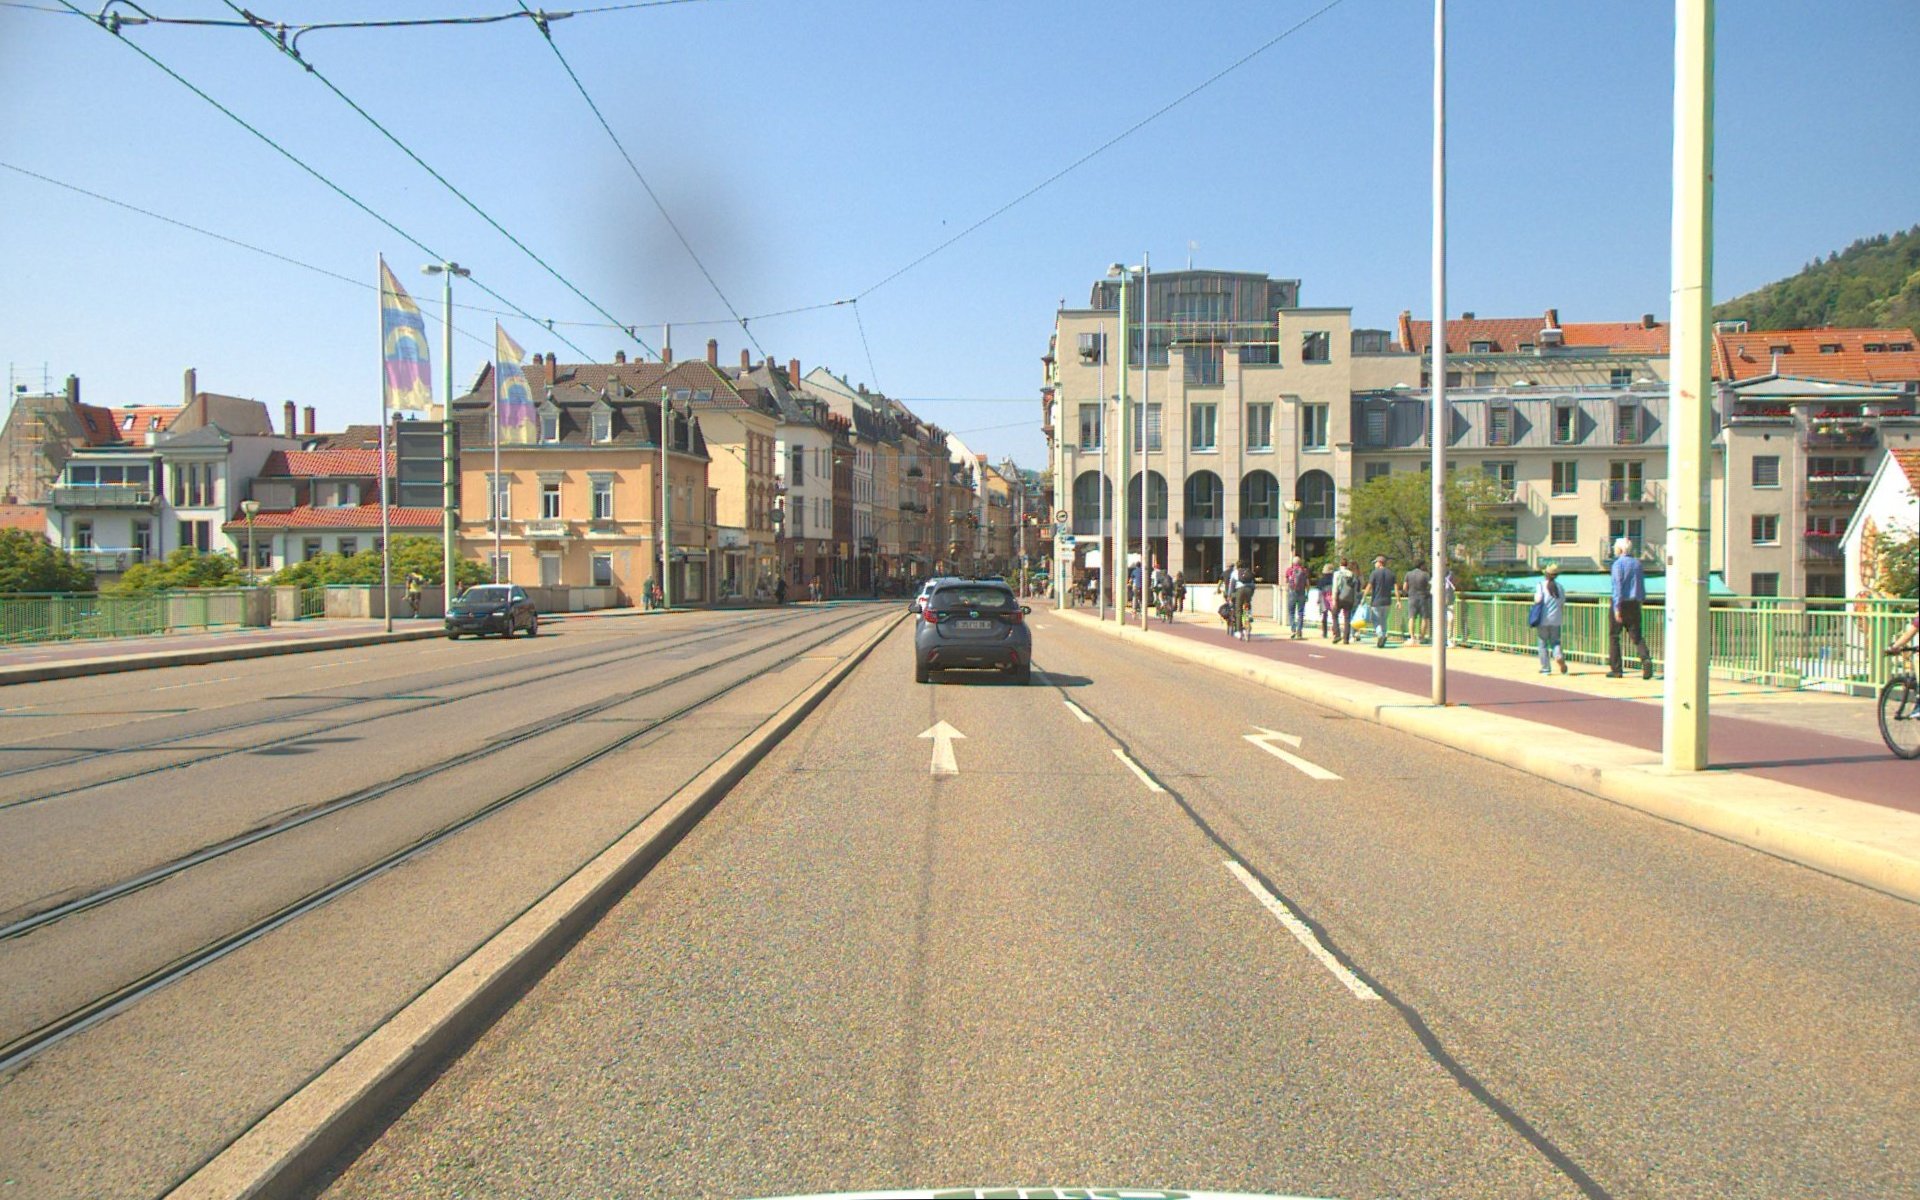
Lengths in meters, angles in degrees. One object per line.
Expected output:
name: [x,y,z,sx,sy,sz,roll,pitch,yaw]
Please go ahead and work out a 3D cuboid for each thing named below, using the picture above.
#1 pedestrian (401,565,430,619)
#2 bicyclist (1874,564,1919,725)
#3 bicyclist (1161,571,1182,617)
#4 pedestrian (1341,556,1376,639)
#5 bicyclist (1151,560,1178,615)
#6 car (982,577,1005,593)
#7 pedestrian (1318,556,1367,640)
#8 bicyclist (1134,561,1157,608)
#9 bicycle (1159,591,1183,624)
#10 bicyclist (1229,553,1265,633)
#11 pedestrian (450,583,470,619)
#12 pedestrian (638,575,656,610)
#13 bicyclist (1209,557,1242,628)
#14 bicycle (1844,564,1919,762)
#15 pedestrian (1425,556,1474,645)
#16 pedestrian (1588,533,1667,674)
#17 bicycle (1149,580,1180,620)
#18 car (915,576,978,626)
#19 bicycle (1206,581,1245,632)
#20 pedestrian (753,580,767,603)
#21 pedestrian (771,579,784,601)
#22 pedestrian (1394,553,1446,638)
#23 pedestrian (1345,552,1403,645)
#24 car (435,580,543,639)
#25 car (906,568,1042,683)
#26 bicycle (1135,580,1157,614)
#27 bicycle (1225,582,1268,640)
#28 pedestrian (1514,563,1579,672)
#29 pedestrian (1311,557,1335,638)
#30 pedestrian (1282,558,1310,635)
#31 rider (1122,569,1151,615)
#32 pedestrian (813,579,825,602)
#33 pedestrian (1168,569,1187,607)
pedestrian: [-18.692,-0.281,56.827,0.747,1.818,0.663,0,1,1]
bicyclist: [7.042,0.301,11.867,0.586,1.120,0.853,0,1,9]
bicyclist: [7.310,-0.213,57.226,0.638,1.556,0.975,0,1,2]
pedestrian: [8.643,-0.054,35.894,0.517,1.778,0.728,1,0,-1]
bicyclist: [6.365,-0.404,51.467,0.701,1.705,0.869,0,1,-2]
car: [3.116,-1.432,153.190,1.838,1.433,4.003,0,1,4]
pedestrian: [7.921,-0.043,34.293,0.817,1.719,0.869,0,1,-1]
bicyclist: [6.727,-0.557,59.937,0.779,1.705,0.869,0,1,2]
bicycle: [7.318,0.252,57.326,0.652,1.067,2.030,0,1,3]
bicyclist: [6.264,-0.157,36.168,0.615,1.719,0.869,0,1,-2]
pedestrian: [-18.703,0.040,61.904,0.561,1.327,0.543,0,1,1]
pedestrian: [-15.391,-0.378,81.322,0.747,1.694,0.663,0,1,1]
bicyclist: [6.461,-0.188,40.337,0.643,1.705,0.869,0,1,-2]
bicycle: [7.079,0.437,11.943,0.523,1.390,2.218,0,1,9]
pedestrian: [9.348,-0.004,31.585,0.698,1.680,0.848,0,1,1]
pedestrian: [8.878,0.034,22.023,0.698,1.842,0.848,0,1,-1]
bicycle: [6.364,0.003,51.579,0.653,1.198,2.028,0,1,-2]
car: [-0.470,-0.001,53.191,1.768,1.494,3.998,-2,1,-3]
bicycle: [6.471,0.137,40.427,0.581,1.198,1.939,0,1,-2]
pedestrian: [-12.708,-0.560,105.058,0.747,1.422,0.663,0,1,1]
pedestrian: [-11.800,-0.642,107.151,0.747,1.422,0.663,0,1,1]
pedestrian: [9.389,-0.106,33.758,0.817,1.719,0.869,0,1,-1]
pedestrian: [8.119,-0.038,32.459,0.911,1.792,0.937,0,1,-1]
car: [-12.923,0.224,45.577,1.953,1.505,3.999,0,1,-2]
car: [0.132,0.320,25.656,1.872,1.567,3.999,0,2,-3]
bicycle: [6.735,-0.127,59.875,0.652,1.198,2.030,0,1,3]
bicycle: [6.256,0.225,36.165,0.515,1.198,2.028,0,1,-2]
pedestrian: [8.166,0.231,23.042,0.601,1.491,0.848,0,1,-1]
pedestrian: [8.285,-0.052,37.742,0.360,1.826,0.604,1,0,-1]
pedestrian: [7.629,-0.083,37.541,0.417,1.700,0.620,3,0,-1]
rider: [5.897,-0.283,55.336,0.871,1.531,0.841,0,1,-2]
pedestrian: [-10.281,-0.693,120.516,0.747,1.728,0.663,0,1,1]
pedestrian: [8.499,-0.482,64.615,0.643,1.476,0.644,0,1,-4]
